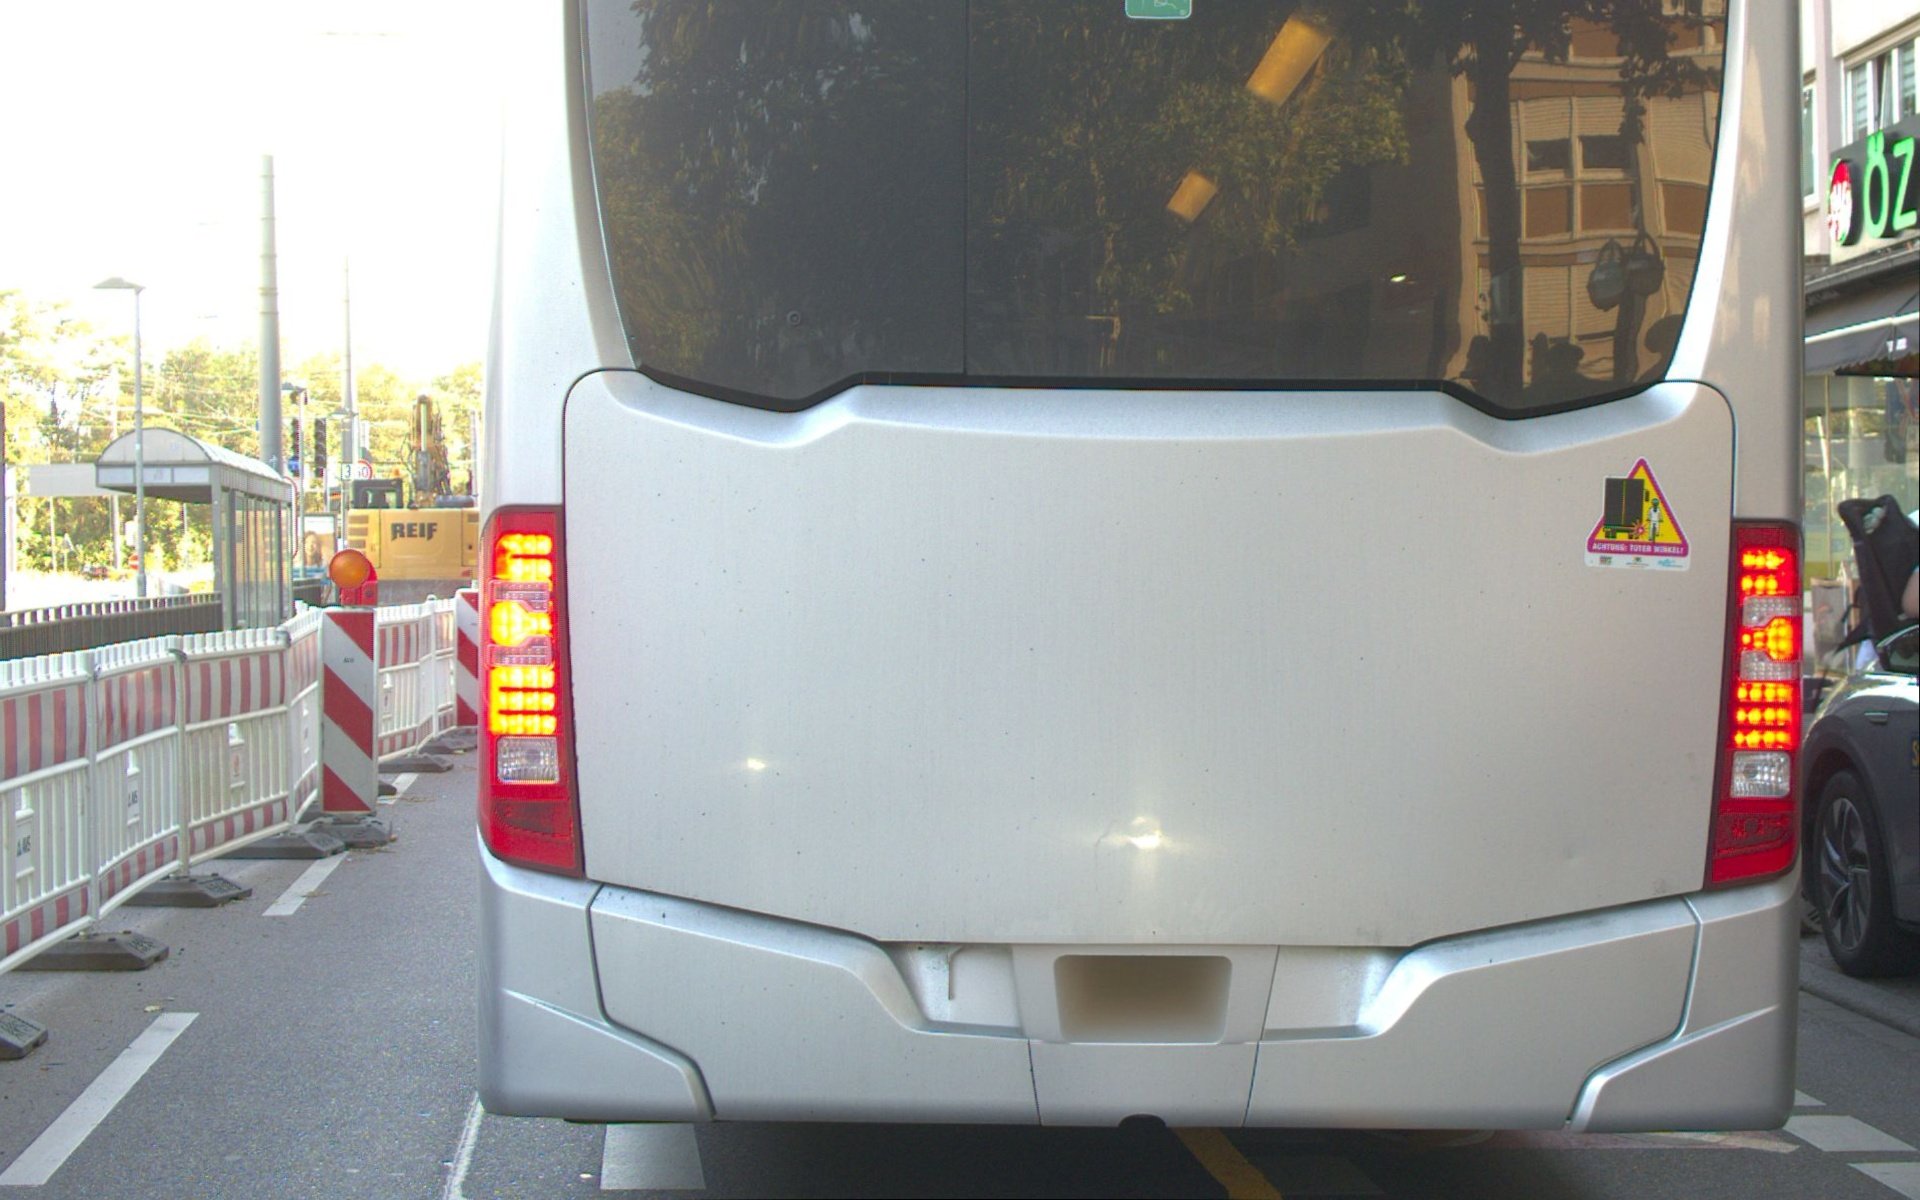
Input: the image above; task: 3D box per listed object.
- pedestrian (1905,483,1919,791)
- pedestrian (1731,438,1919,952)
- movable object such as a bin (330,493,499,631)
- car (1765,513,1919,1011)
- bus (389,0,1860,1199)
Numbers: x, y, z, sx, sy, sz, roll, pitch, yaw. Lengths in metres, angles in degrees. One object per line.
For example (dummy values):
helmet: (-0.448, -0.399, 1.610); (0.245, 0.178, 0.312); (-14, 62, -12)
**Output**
pedestrian: (6.592, 0.239, 22.304); (0.690, 2.007, 0.696); (-1, 0, -2)
pedestrian: (3.670, 0.339, 13.184); (1.119, 1.883, 1.025); (-1, 0, -4)
movable object such as a bin: (-10.051, -0.714, 63.674); (2.806, 2.453, 4.001); (-1, 1, -5)
car: (3.996, 0.493, 10.308); (1.739, 1.592, 4.300); (-3, 1, -5)
bus: (0.267, -0.284, 11.252); (2.608, 3.159, 10.292); (0, 1, 0)
